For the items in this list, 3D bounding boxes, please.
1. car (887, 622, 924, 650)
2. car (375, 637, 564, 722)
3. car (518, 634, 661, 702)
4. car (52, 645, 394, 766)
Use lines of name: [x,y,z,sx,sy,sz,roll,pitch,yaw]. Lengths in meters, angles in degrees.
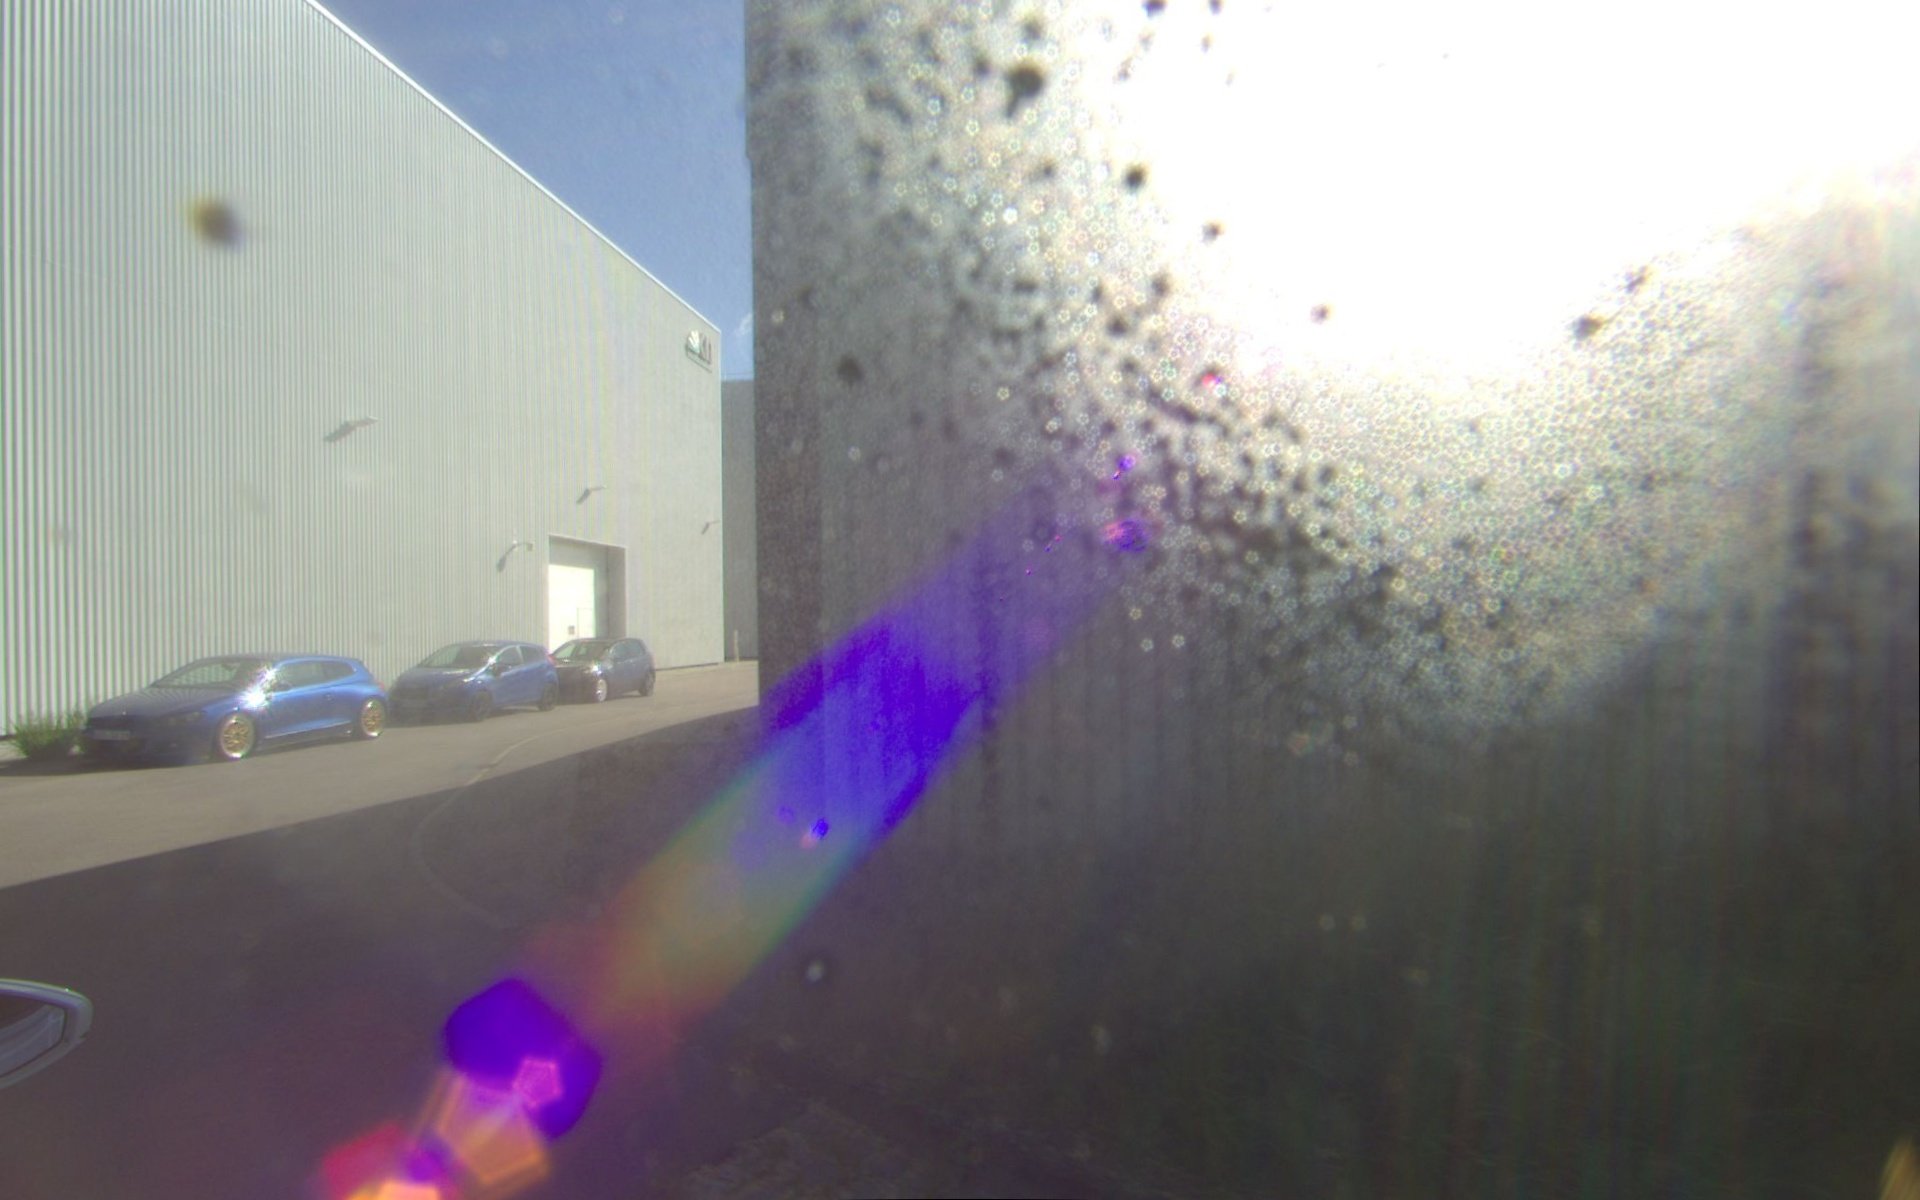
car: [-3.618,2.416,67.136,1.877,1.816,4.001,-1,-2,5]
car: [-9.513,1.489,19.762,1.593,1.466,3.765,0,-1,6]
car: [-8.971,1.595,24.596,1.624,1.464,3.879,2,-1,7]
car: [-10.108,1.370,14.177,1.641,1.367,3.954,1,-1,6]
